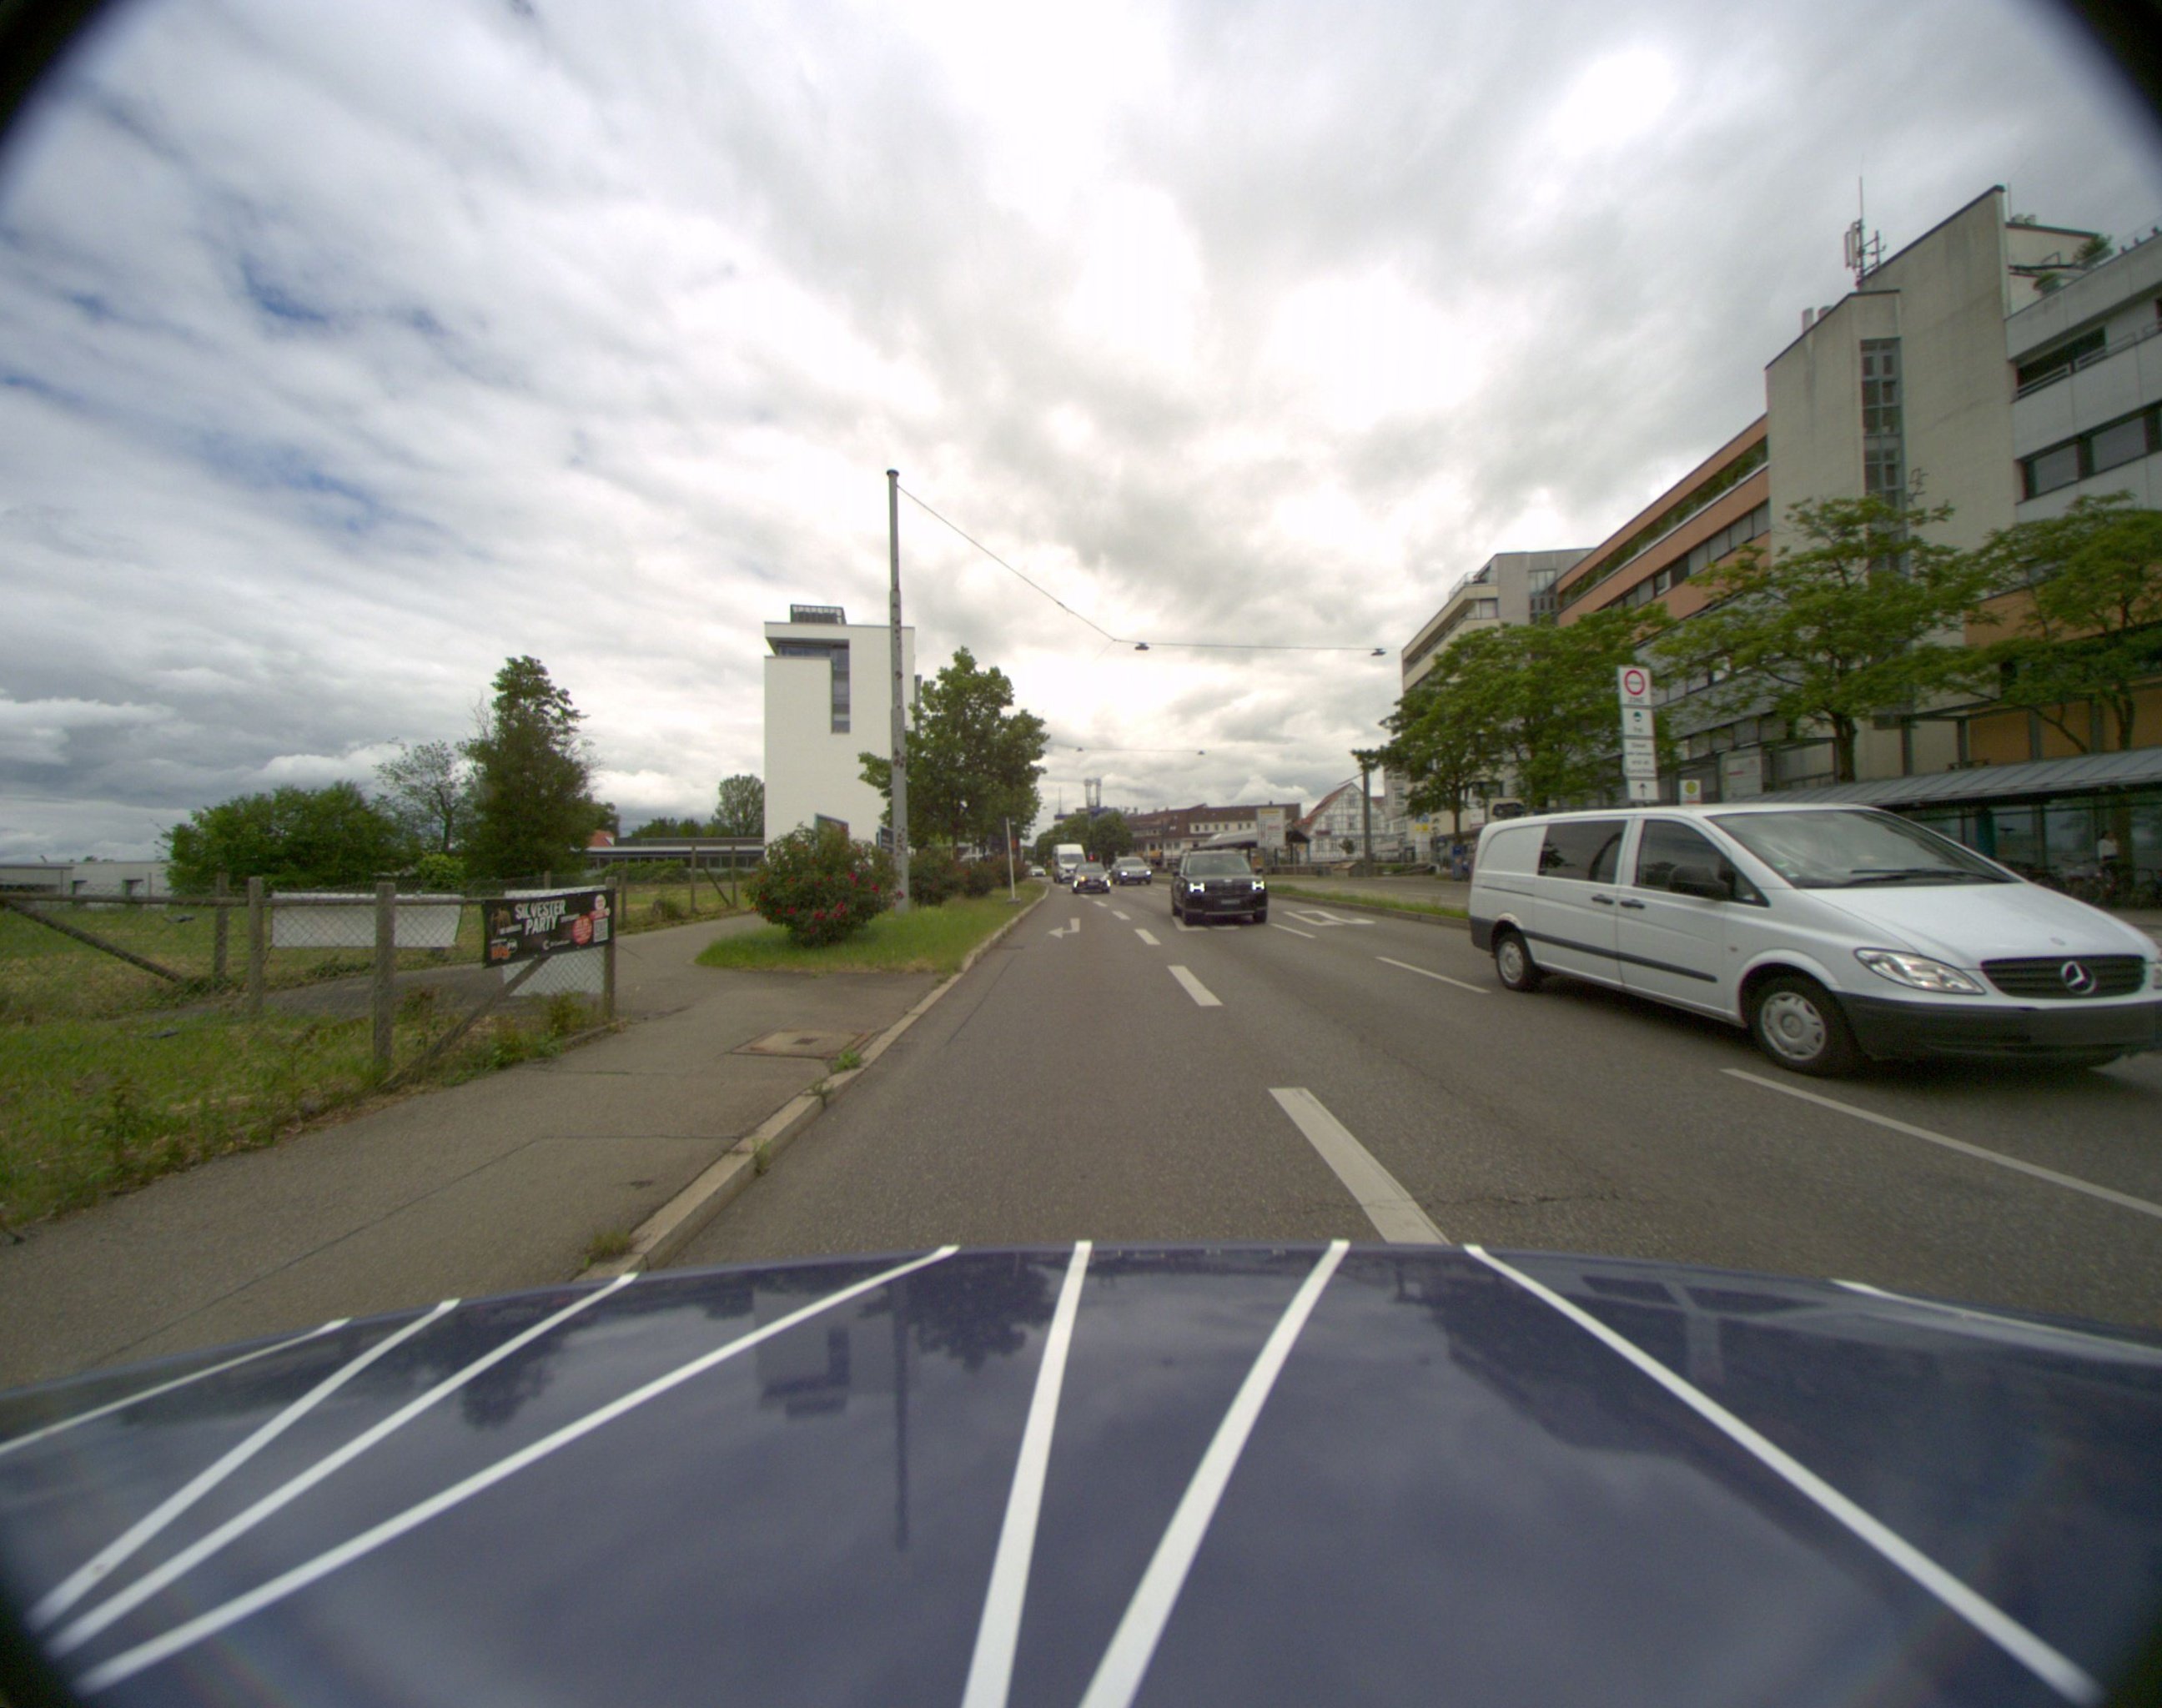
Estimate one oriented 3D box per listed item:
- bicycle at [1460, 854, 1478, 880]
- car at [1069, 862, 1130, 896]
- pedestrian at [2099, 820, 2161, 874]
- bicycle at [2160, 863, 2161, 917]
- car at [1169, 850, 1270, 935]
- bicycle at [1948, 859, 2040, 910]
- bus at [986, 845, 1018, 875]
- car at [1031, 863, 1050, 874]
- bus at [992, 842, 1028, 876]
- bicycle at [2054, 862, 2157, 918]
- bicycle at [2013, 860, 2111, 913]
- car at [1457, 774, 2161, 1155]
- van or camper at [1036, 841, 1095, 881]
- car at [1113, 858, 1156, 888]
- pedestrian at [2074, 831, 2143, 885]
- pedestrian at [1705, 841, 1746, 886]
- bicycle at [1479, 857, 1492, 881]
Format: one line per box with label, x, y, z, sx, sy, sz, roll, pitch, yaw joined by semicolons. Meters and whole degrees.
bicycle;19.827;0.651;38.809;0.625;1.246;1.687;-1;0;33
car;0.942;1.159;35.714;1.861;1.516;4.006;-1;-1;16
pedestrian;32.035;-0.207;23.131;0.735;1.608;0.997;-1;0;-4
bicycle;24.019;0.756;16.085;2.073;1.146;0.711;-1;0;-16
car;3.311;0.848;18.987;1.926;1.741;4.679;-3;1;4
bicycle;23.524;0.773;19.585;2.072;1.147;0.711;-4;1;-16
bus;-9.116;0.762;87.109;2.722;3.089;8.863;4;-2;-10
car;-5.393;1.857;101.420;2.000;1.368;3.996;-1;0;-11
bus;-7.455;0.572;78.270;2.722;3.144;9.120;3;-2;-11
bicycle;23.489;0.803;17.426;2.073;1.147;0.711;-2;1;-16
bicycle;23.838;0.766;18.471;2.072;1.147;0.711;-3;1;-16
car;5.507;0.597;6.612;1.878;2.002;5.076;-2;0;0
van or camper;-1.214;0.529;54.698;2.283;2.690;6.985;0;-1;-18
car;3.177;1.114;45.765;1.999;1.640;4.392;-3;0;-3
pedestrian;31.215;0.119;23.096;0.735;1.608;0.997;-1;0;-4
pedestrian;25.463;0.372;30.014;0.735;1.771;0.997;-1;0;-4
bicycle;21.305;0.793;39.998;0.431;1.246;1.474;-1;0;35
